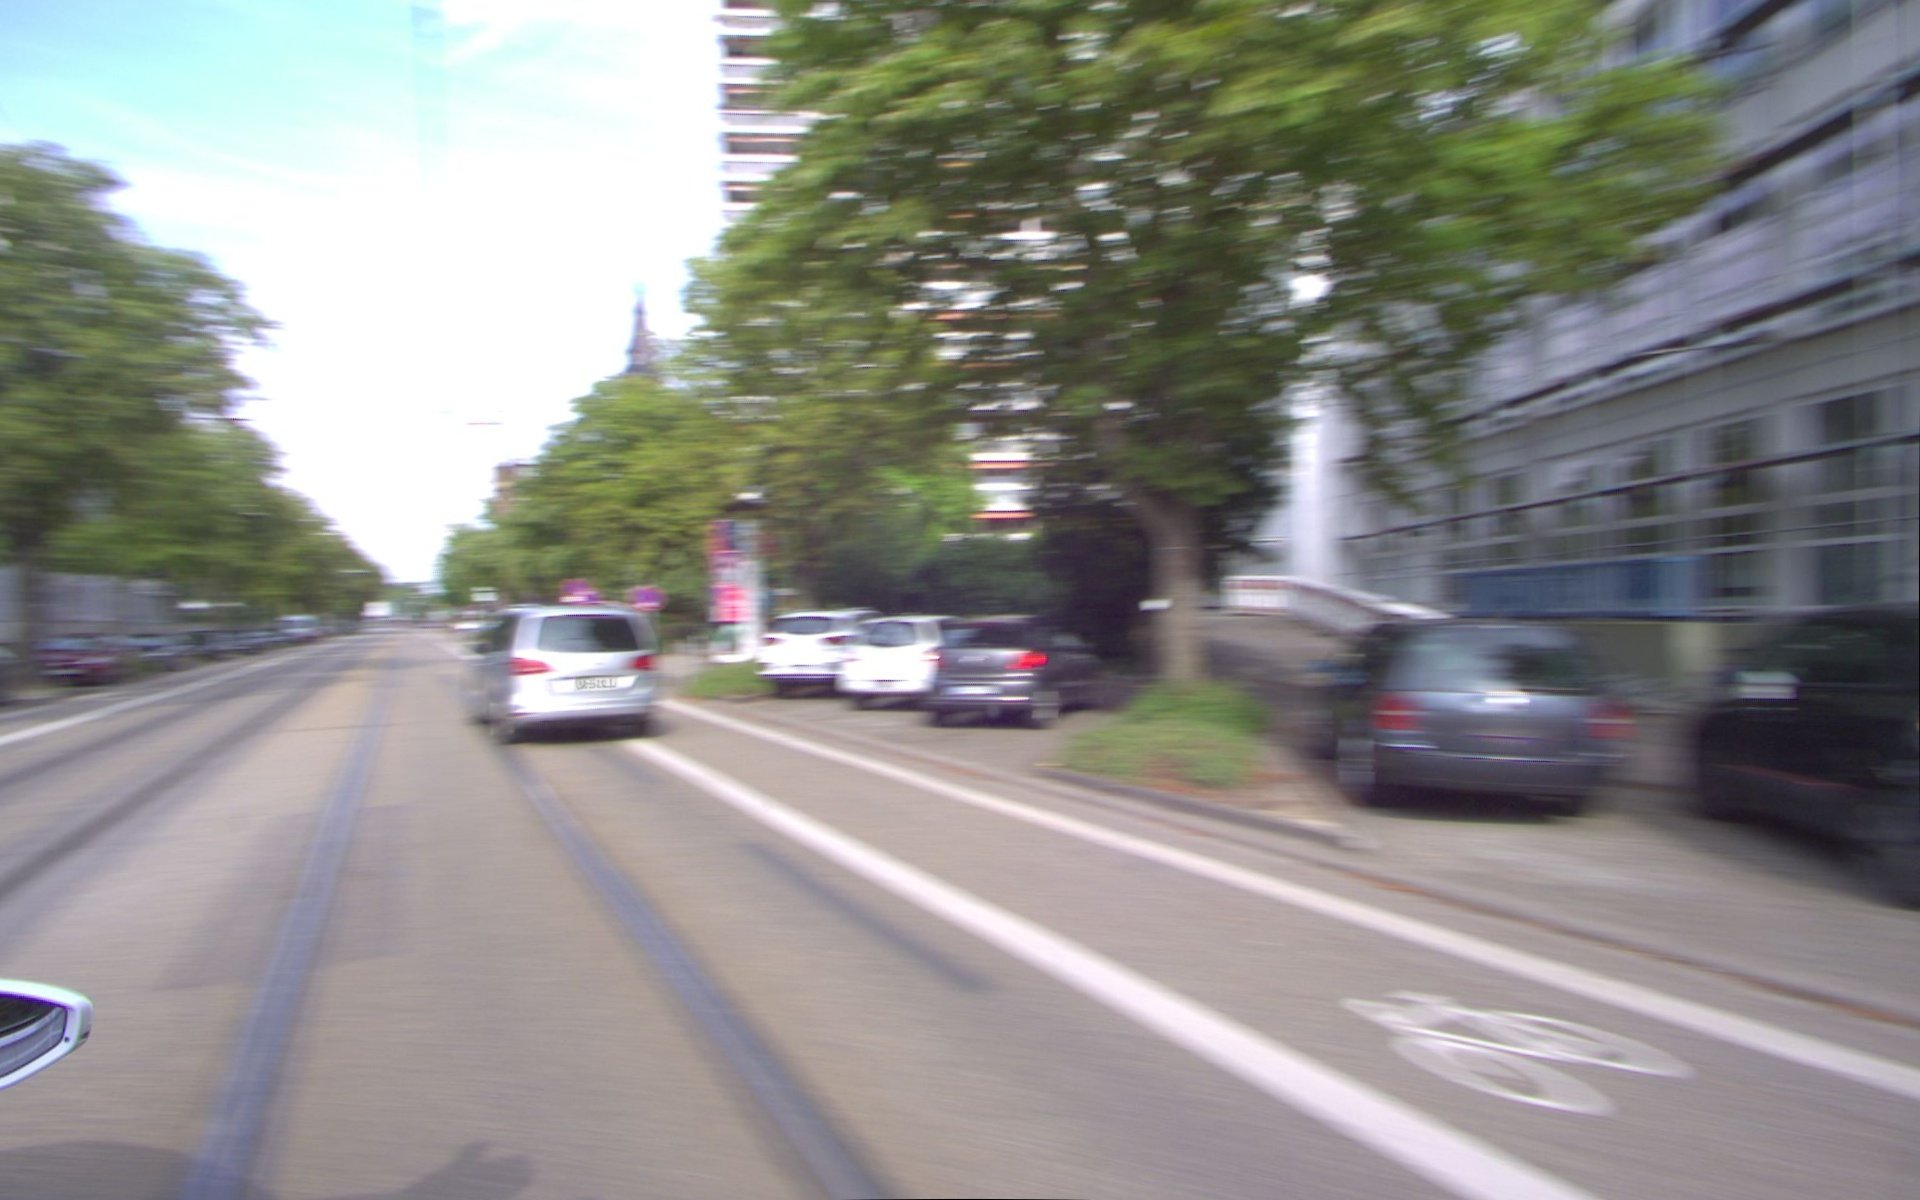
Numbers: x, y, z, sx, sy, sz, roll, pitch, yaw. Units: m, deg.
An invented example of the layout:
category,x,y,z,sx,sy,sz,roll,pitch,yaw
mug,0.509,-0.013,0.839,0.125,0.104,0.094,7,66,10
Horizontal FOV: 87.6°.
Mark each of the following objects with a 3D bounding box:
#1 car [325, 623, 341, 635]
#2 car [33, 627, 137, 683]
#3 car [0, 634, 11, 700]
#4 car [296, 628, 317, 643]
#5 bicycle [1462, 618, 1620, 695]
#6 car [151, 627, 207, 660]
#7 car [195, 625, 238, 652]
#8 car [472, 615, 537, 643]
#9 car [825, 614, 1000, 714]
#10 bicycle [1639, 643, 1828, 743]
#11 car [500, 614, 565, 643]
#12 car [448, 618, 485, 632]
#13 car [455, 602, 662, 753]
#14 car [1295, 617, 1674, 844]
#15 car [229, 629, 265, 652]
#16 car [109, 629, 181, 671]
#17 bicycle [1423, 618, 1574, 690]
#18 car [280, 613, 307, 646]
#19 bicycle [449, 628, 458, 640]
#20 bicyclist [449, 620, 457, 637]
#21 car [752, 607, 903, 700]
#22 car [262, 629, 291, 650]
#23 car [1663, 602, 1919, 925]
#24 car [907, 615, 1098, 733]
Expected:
category,x,y,z,sx,sy,sz,roll,pitch,yaw
car,-77.345,3.554,123.538,1.573,1.421,3.532,0,-1,-30
car,-25.663,1.566,29.497,1.618,1.515,3.941,0,-1,-31
car,-20.731,1.414,20.155,1.574,1.421,3.940,0,-1,-32
car,-62.366,3.397,95.630,1.574,1.421,3.940,0,-1,-32
bicycle,8.292,0.796,14.333,1.939,1.057,0.594,0,0,-3
car,-35.784,1.976,45.953,1.574,1.421,3.940,0,-1,-32
car,-40.739,2.100,54.924,1.574,1.421,3.940,0,-1,-32
car,-27.349,1.730,60.280,1.651,1.623,3.643,-1,-1,14
car,-0.680,0.994,16.868,1.653,1.493,3.639,-1,-1,20
bicycle,8.793,1.045,11.410,1.805,1.057,0.453,-1,0,-1
car,-25.235,1.683,59.179,1.651,1.623,3.643,-1,-1,14
car,-61.929,3.107,125.733,3.950,1.715,1.986,0,-1,-36
car,-5.704,0.923,13.851,1.794,1.723,4.588,0,-1,-33
car,4.060,0.877,8.558,1.782,1.433,4.168,-1,-1,12
car,-45.487,2.567,63.927,1.574,1.421,3.940,0,-1,-32
car,-30.294,1.822,37.304,1.574,1.421,3.940,0,-1,-32
bicycle,8.156,0.811,15.228,1.939,1.057,0.594,0,0,7
car,-56.352,2.456,84.766,1.702,2.739,5.439,0,-1,-32
bicycle,-45.300,3.067,89.517,0.586,1.057,1.966,0,-1,-32
bicyclist,-45.300,2.546,89.519,0.586,1.478,0.870,0,0,-32
car,-2.451,0.976,19.368,1.651,1.623,3.643,-1,-1,14
car,-49.731,2.837,72.874,1.574,1.421,3.940,0,-1,-32
car,5.768,0.797,5.953,1.567,1.557,3.413,0,-1,16
car,0.736,0.944,14.163,1.653,1.438,3.639,-1,-1,20
